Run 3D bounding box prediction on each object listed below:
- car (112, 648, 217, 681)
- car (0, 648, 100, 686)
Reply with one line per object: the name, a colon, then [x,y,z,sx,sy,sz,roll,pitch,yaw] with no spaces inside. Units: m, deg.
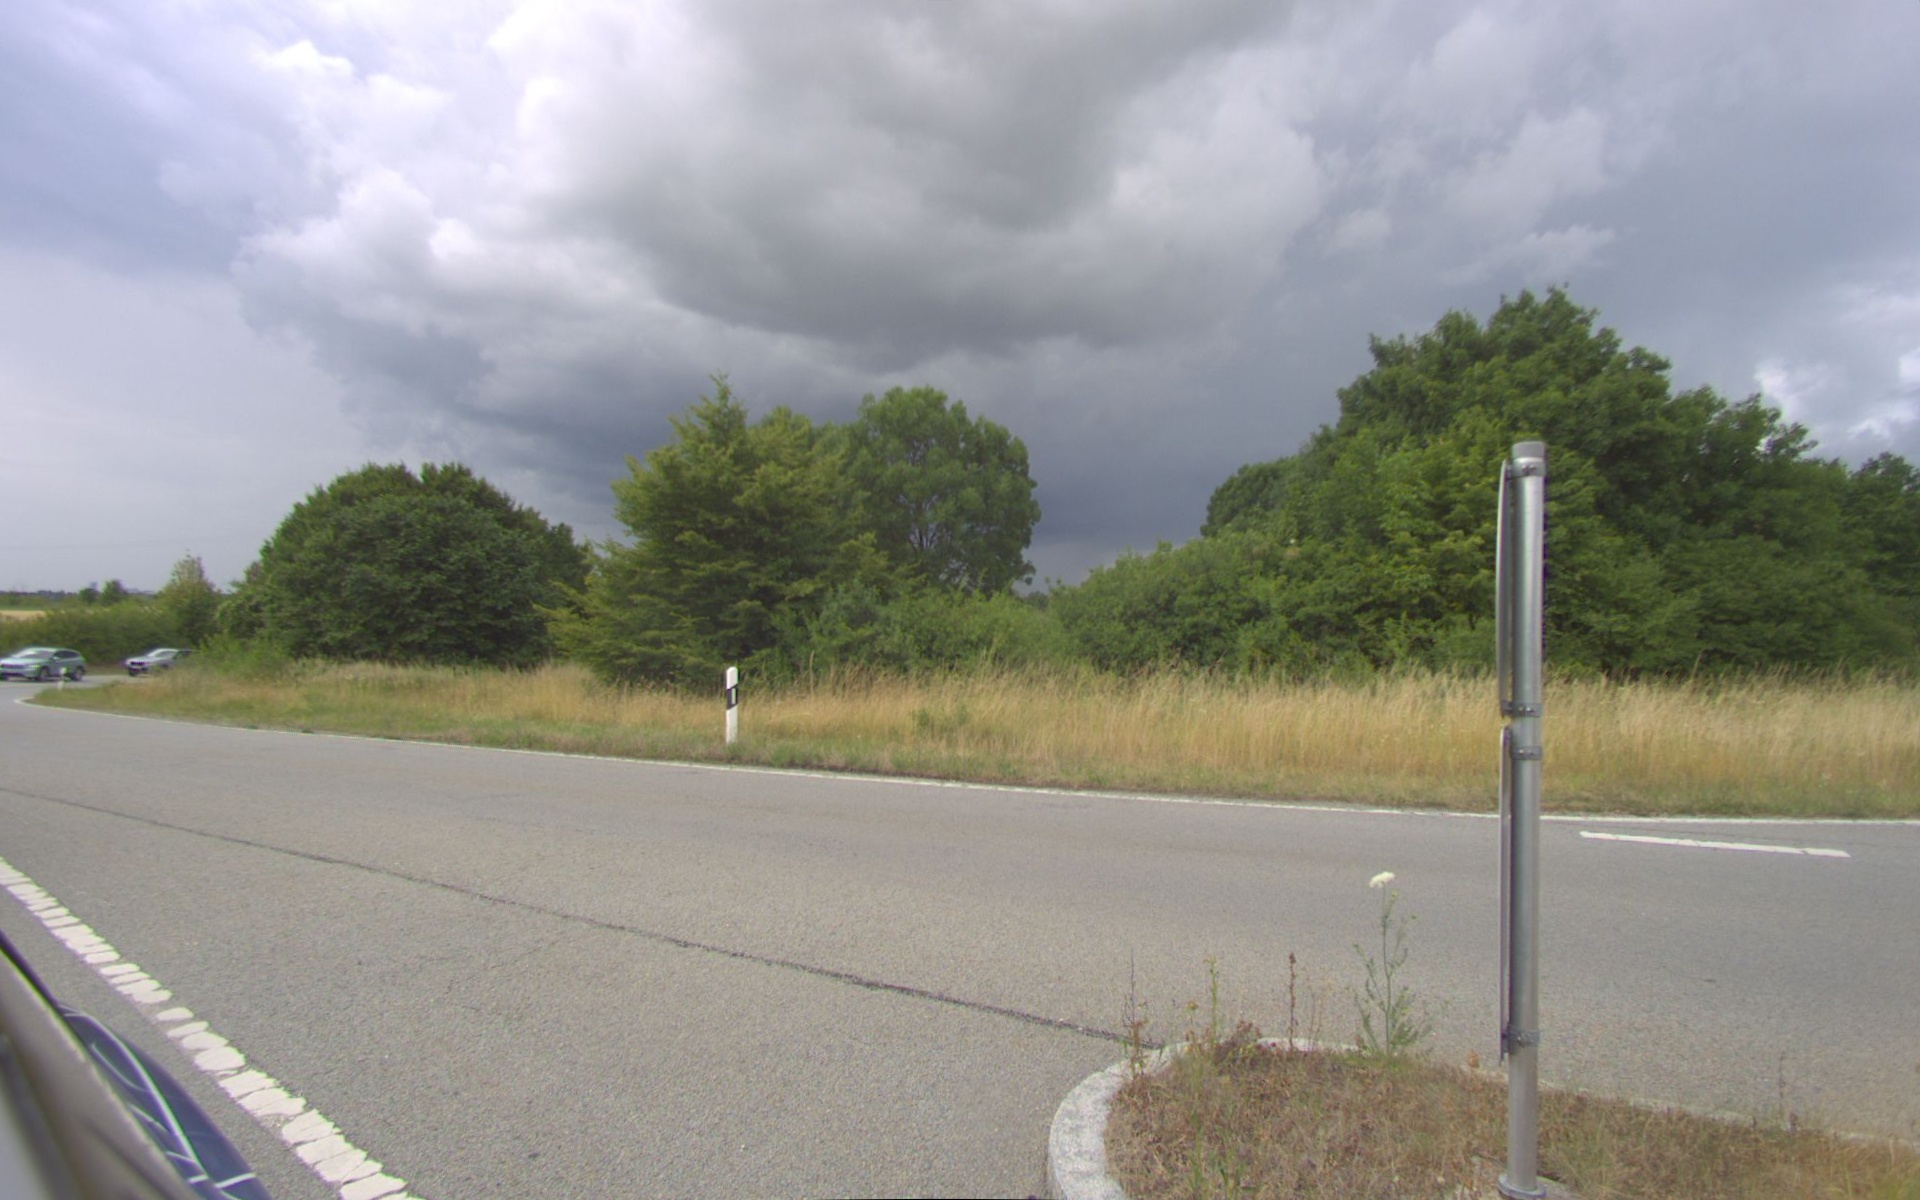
car: [-47.048,3.796,59.993,1.973,1.732,5.206,2,-2,1]
car: [-45.335,3.291,49.968,1.967,1.733,5.220,3,-5,-11]
